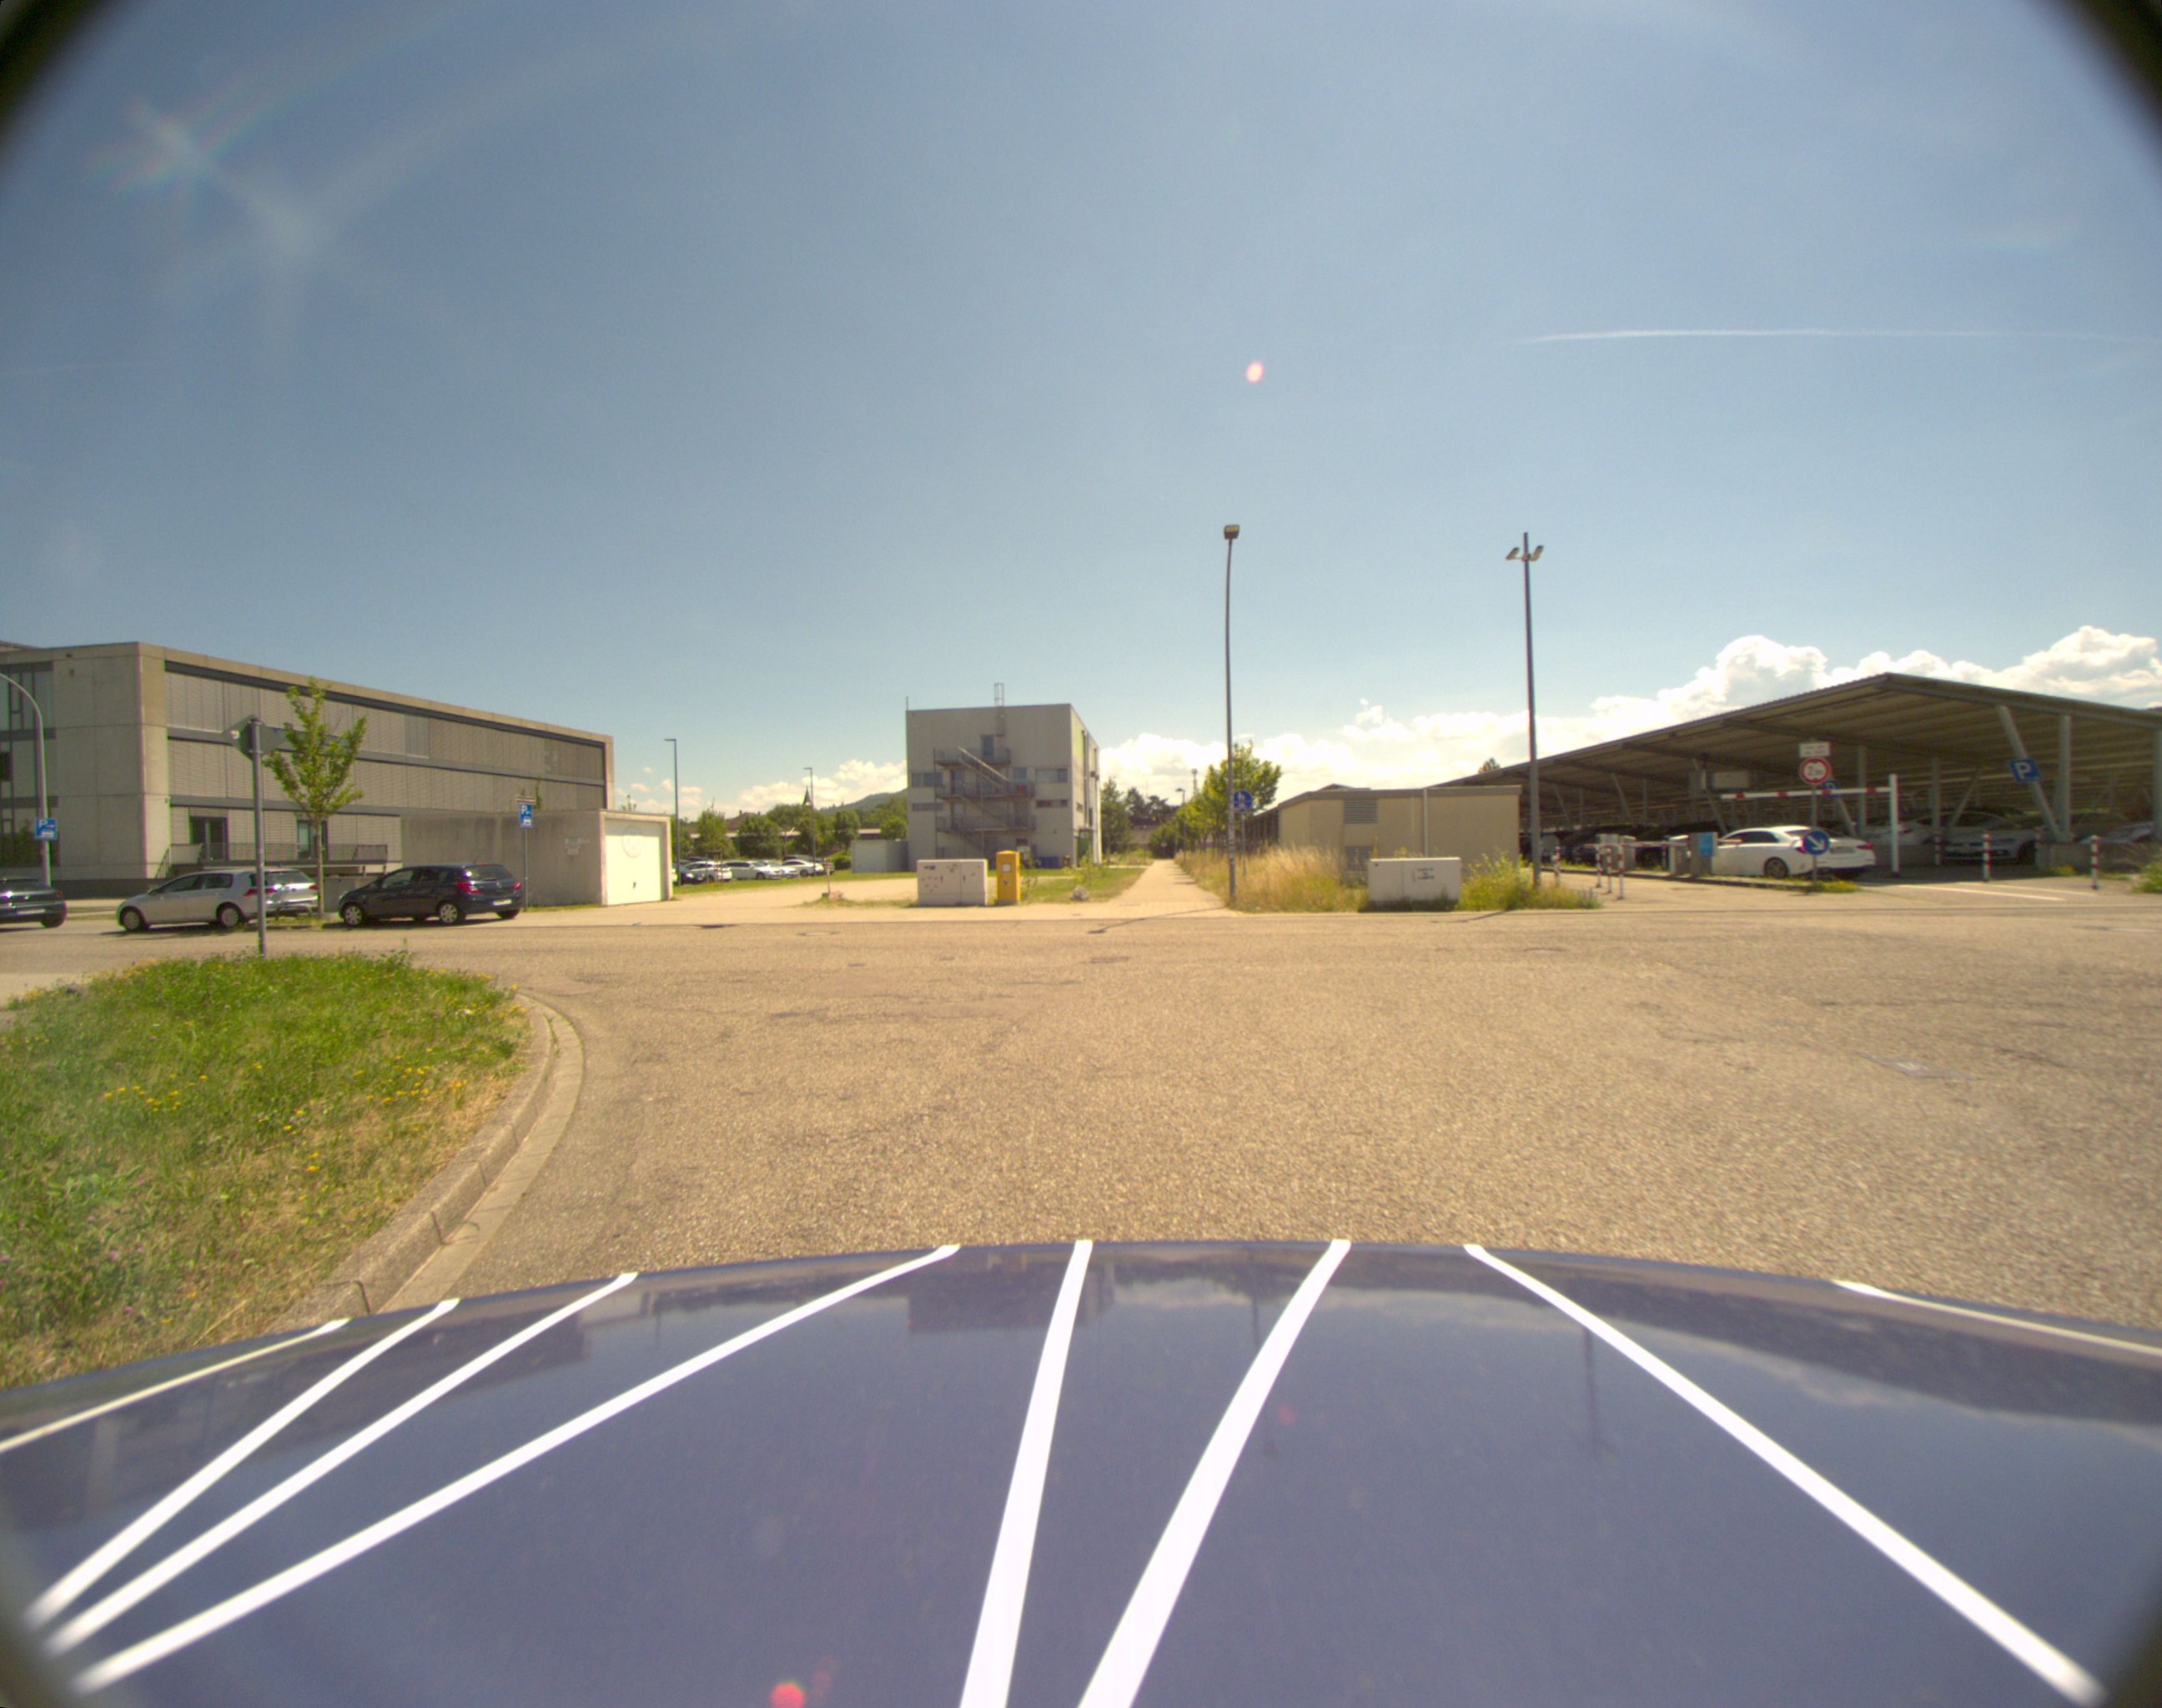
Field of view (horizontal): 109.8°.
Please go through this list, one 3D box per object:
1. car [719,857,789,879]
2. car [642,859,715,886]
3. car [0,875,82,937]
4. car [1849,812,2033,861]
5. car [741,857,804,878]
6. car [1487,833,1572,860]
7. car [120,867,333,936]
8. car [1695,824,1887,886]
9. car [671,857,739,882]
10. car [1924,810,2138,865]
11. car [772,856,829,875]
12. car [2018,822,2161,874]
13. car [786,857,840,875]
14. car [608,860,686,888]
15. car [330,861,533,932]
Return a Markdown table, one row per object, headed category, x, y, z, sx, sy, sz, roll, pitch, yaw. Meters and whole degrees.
| category | x | y | z | sx | sy | sz | roll | pitch | yaw |
| --- | --- | --- | --- | --- | --- | --- | --- | --- | --- |
| car | -23.674 | 1.026 | 55.127 | 4.366 | 1.458 | 1.710 | -1 | 1 | 7 |
| car | -24.786 | 1.113 | 46.881 | 3.623 | 1.526 | 1.659 | -1 | 1 | 7 |
| car | -29.115 | 1.387 | 20.051 | 3.623 | 1.461 | 1.659 | -1 | 3 | 7 |
| car | 27.554 | -0.550 | 24.448 | 3.771 | 1.428 | 1.724 | -1 | 1 | 5 |
| car | -23.351 | 1.026 | 57.614 | 4.051 | 1.458 | 1.659 | -1 | 1 | 7 |
| car | 25.358 | -0.402 | 43.051 | 3.771 | 1.428 | 1.724 | -1 | 1 | 5 |
| car | -21.465 | 1.172 | 19.172 | 3.624 | 1.493 | 1.659 | -1 | 3 | 6 |
| car | 18.417 | 0.016 | 19.979 | 1.721 | 1.428 | 3.777 | -1 | 0 | 5 |
| car | -24.452 | 1.008 | 49.486 | 3.623 | 1.492 | 1.659 | -1 | 1 | 7 |
| car | 27.135 | -0.447 | 21.816 | 3.771 | 1.428 | 1.724 | -1 | 1 | 5 |
| car | -23.092 | 0.978 | 62.535 | 4.051 | 1.417 | 1.659 | -1 | 1 | 7 |
| car | 26.727 | -0.170 | 19.186 | 3.771 | 1.221 | 1.724 | -1 | 1 | 5 |
| car | -23.142 | 1.044 | 65.610 | 4.051 | 1.379 | 1.659 | -1 | 1 | 7 |
| car | -25.365 | 1.132 | 44.465 | 3.623 | 1.492 | 1.659 | -1 | 1 | 7 |
| car | -15.768 | 1.009 | 18.550 | 3.623 | 1.493 | 1.684 | -1 | 3 | 7 |
